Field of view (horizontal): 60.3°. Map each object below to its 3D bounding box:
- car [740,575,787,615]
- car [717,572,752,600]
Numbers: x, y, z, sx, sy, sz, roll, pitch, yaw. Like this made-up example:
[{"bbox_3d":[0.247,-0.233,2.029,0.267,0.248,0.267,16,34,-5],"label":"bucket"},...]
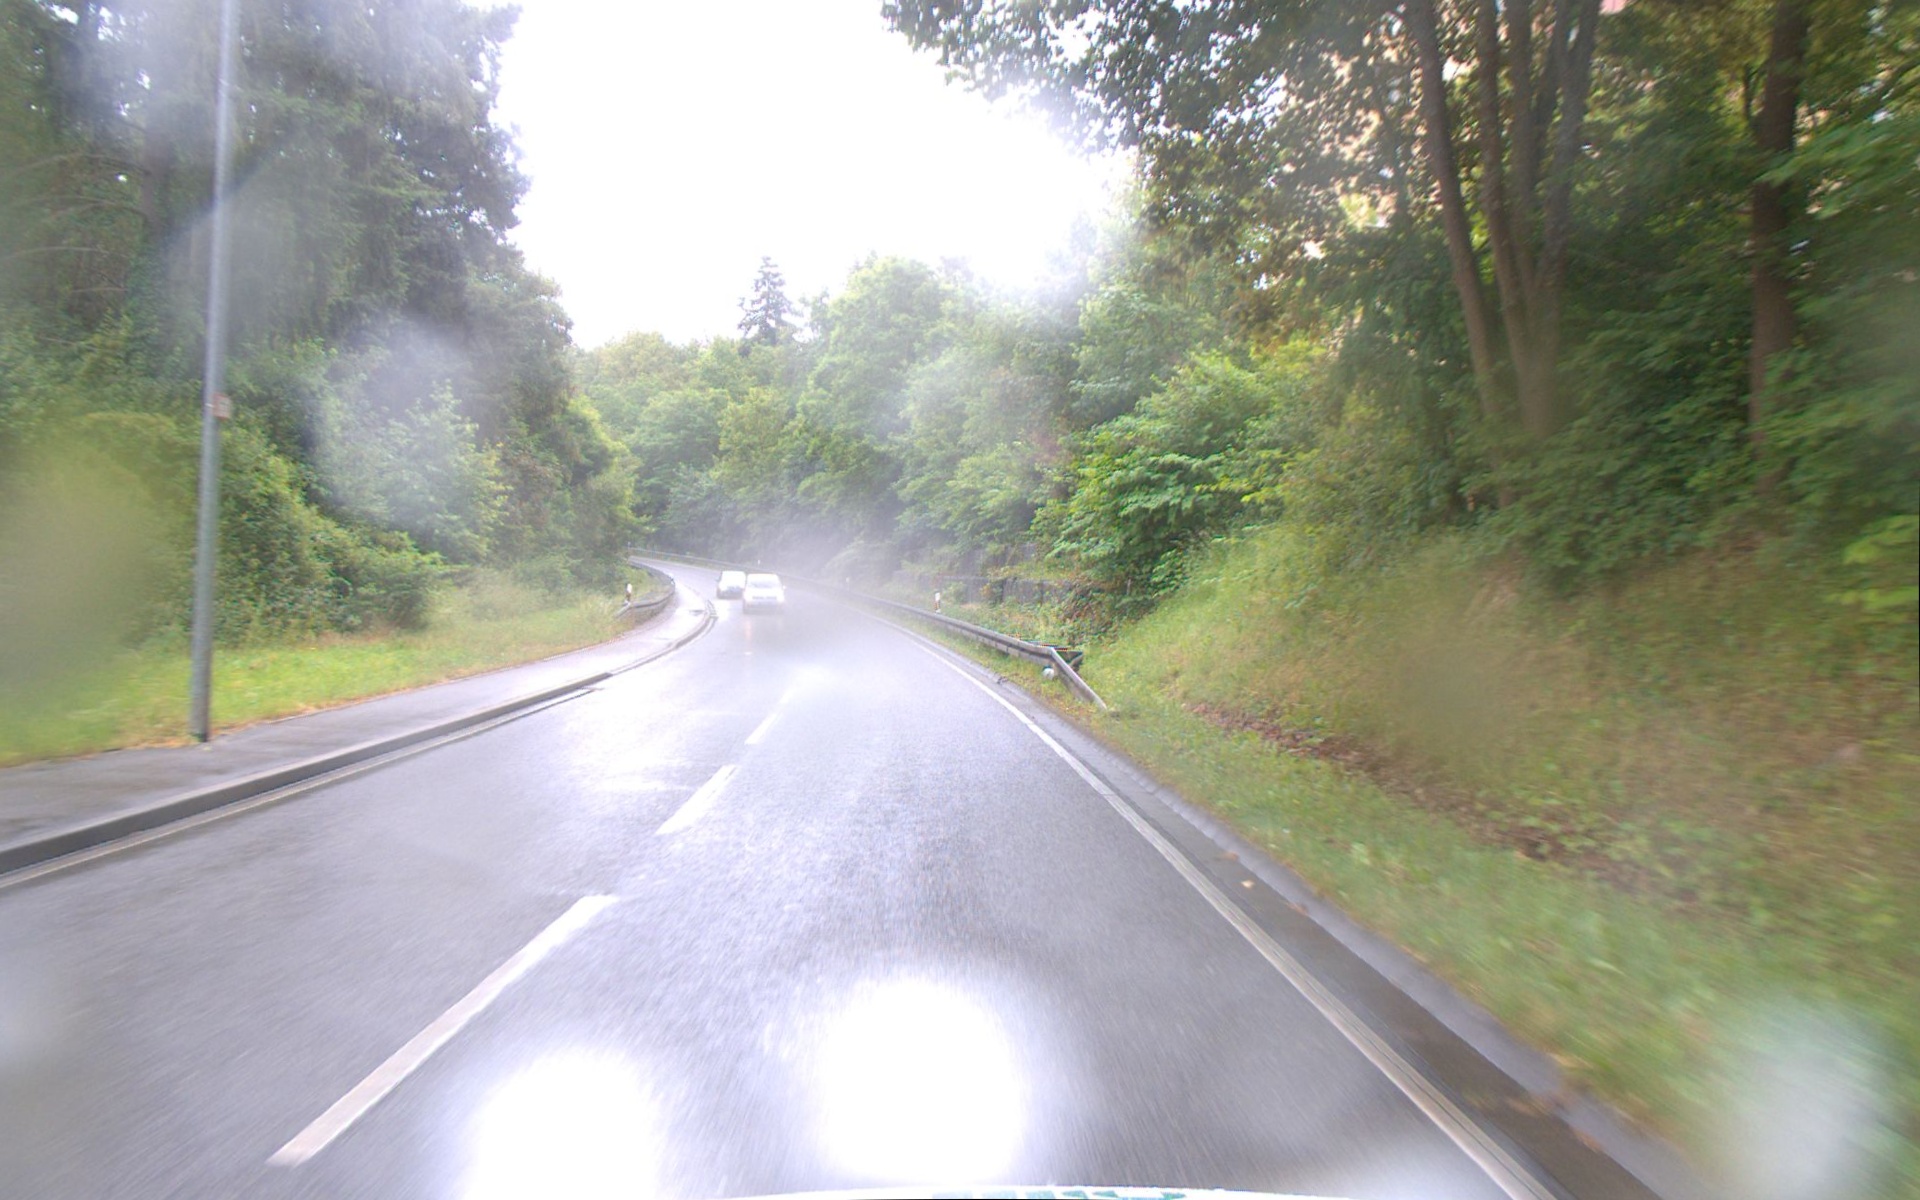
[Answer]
[{"bbox_3d":[-8.540,-0.219,71.507,1.781,1.676,4.121,0,0,-10],"label":"car"},{"bbox_3d":[-12.436,-0.757,91.006,1.781,1.459,3.991,0,0,-10],"label":"car"}]
